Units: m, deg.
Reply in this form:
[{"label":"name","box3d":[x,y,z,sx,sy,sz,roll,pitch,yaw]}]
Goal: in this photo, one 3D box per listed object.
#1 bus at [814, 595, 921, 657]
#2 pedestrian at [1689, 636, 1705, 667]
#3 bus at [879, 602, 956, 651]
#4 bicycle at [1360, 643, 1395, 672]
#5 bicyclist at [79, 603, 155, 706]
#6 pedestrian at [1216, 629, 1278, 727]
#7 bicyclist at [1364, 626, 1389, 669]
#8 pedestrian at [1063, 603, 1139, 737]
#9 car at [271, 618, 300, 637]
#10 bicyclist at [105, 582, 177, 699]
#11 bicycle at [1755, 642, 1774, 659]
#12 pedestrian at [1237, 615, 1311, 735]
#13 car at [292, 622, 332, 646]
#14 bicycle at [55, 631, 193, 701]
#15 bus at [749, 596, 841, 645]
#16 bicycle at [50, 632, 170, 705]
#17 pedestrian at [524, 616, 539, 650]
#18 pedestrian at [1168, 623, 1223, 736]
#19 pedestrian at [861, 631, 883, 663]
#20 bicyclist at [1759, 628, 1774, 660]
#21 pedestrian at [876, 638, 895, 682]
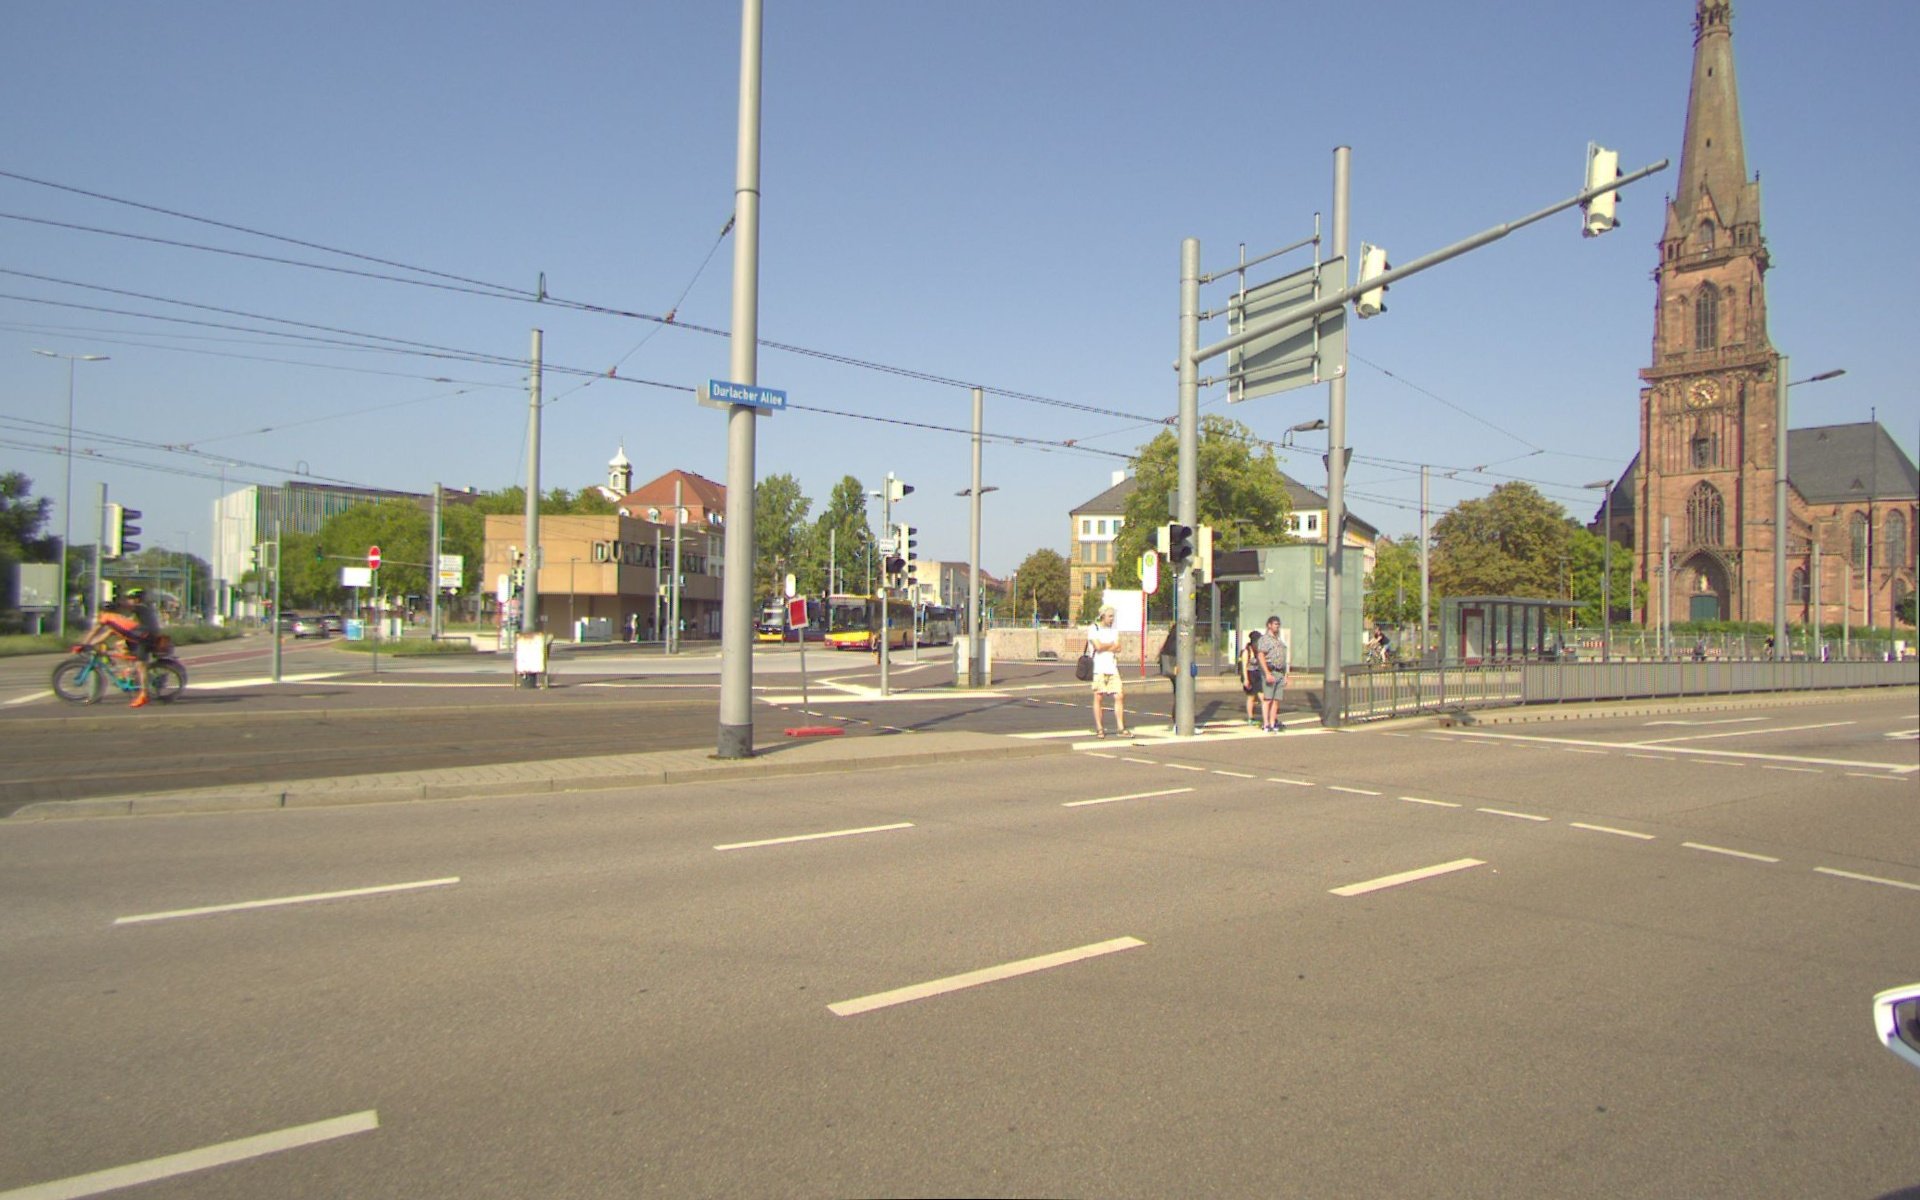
[{"label":"bus","box3d":[-5.123,1.550,59.327,3.159,3.220,13.327,1,-2,8]},{"label":"pedestrian","box3d":[41.034,2.869,55.939,0.658,1.723,0.514,2,-1,-34]},{"label":"bus","box3d":[-2.901,1.979,73.756,3.159,3.220,13.327,1,-2,8]},{"label":"bicycle","box3d":[16.443,2.268,39.567,1.729,1.124,0.399,2,-2,-35]},{"label":"bicyclist","box3d":[-13.878,0.883,16.550,0.795,1.652,0.509,1,-1,-19]},{"label":"pedestrian","box3d":[4.745,1.281,16.633,0.542,1.568,0.804,2,-4,-32]},{"label":"bicyclist","box3d":[16.415,1.865,39.565,0.782,1.678,0.583,2,-1,-33]},{"label":"pedestrian","box3d":[1.974,0.983,14.137,0.719,1.811,0.830,1,-4,-26]},{"label":"car","box3d":[-52.645,2.142,78.476,1.475,1.470,3.499,2,-2,-27]},{"label":"bicyclist","box3d":[-14.372,0.702,17.639,0.795,2.000,0.579,1,-1,-19]},{"label":"bicycle","box3d":[46.195,2.921,57.698,1.677,0.966,0.348,2,-2,-33]},{"label":"pedestrian","box3d":[4.649,1.105,14.902,0.644,1.714,0.809,2,-4,-33]},{"label":"car","box3d":[-41.592,2.172,64.525,1.760,1.528,3.972,2,-2,-27]},{"label":"bicycle","box3d":[-14.588,1.147,17.564,1.830,1.181,0.376,1,-1,-18]},{"label":"bus","box3d":[-12.562,1.646,78.425,3.159,3.464,13.327,1,-2,8]},{"label":"bicycle","box3d":[-13.970,1.117,16.538,1.475,1.181,0.310,1,-1,-18]},{"label":"pedestrian","box3d":[-22.413,1.729,52.528,0.395,1.792,0.560,1,-1,13]},{"label":"pedestrian","box3d":[3.461,1.158,14.795,0.463,1.618,0.628,2,-4,-35]},{"label":"pedestrian","box3d":[-3.661,1.962,41.747,0.752,1.309,0.558,1,-1,10]},{"label":"bicyclist","box3d":[46.334,2.526,57.699,0.810,1.770,0.484,2,-1,-33]},{"label":"pedestrian","box3d":[-3.041,2.441,40.963,0.628,1.783,0.444,1,-1,10]}]
